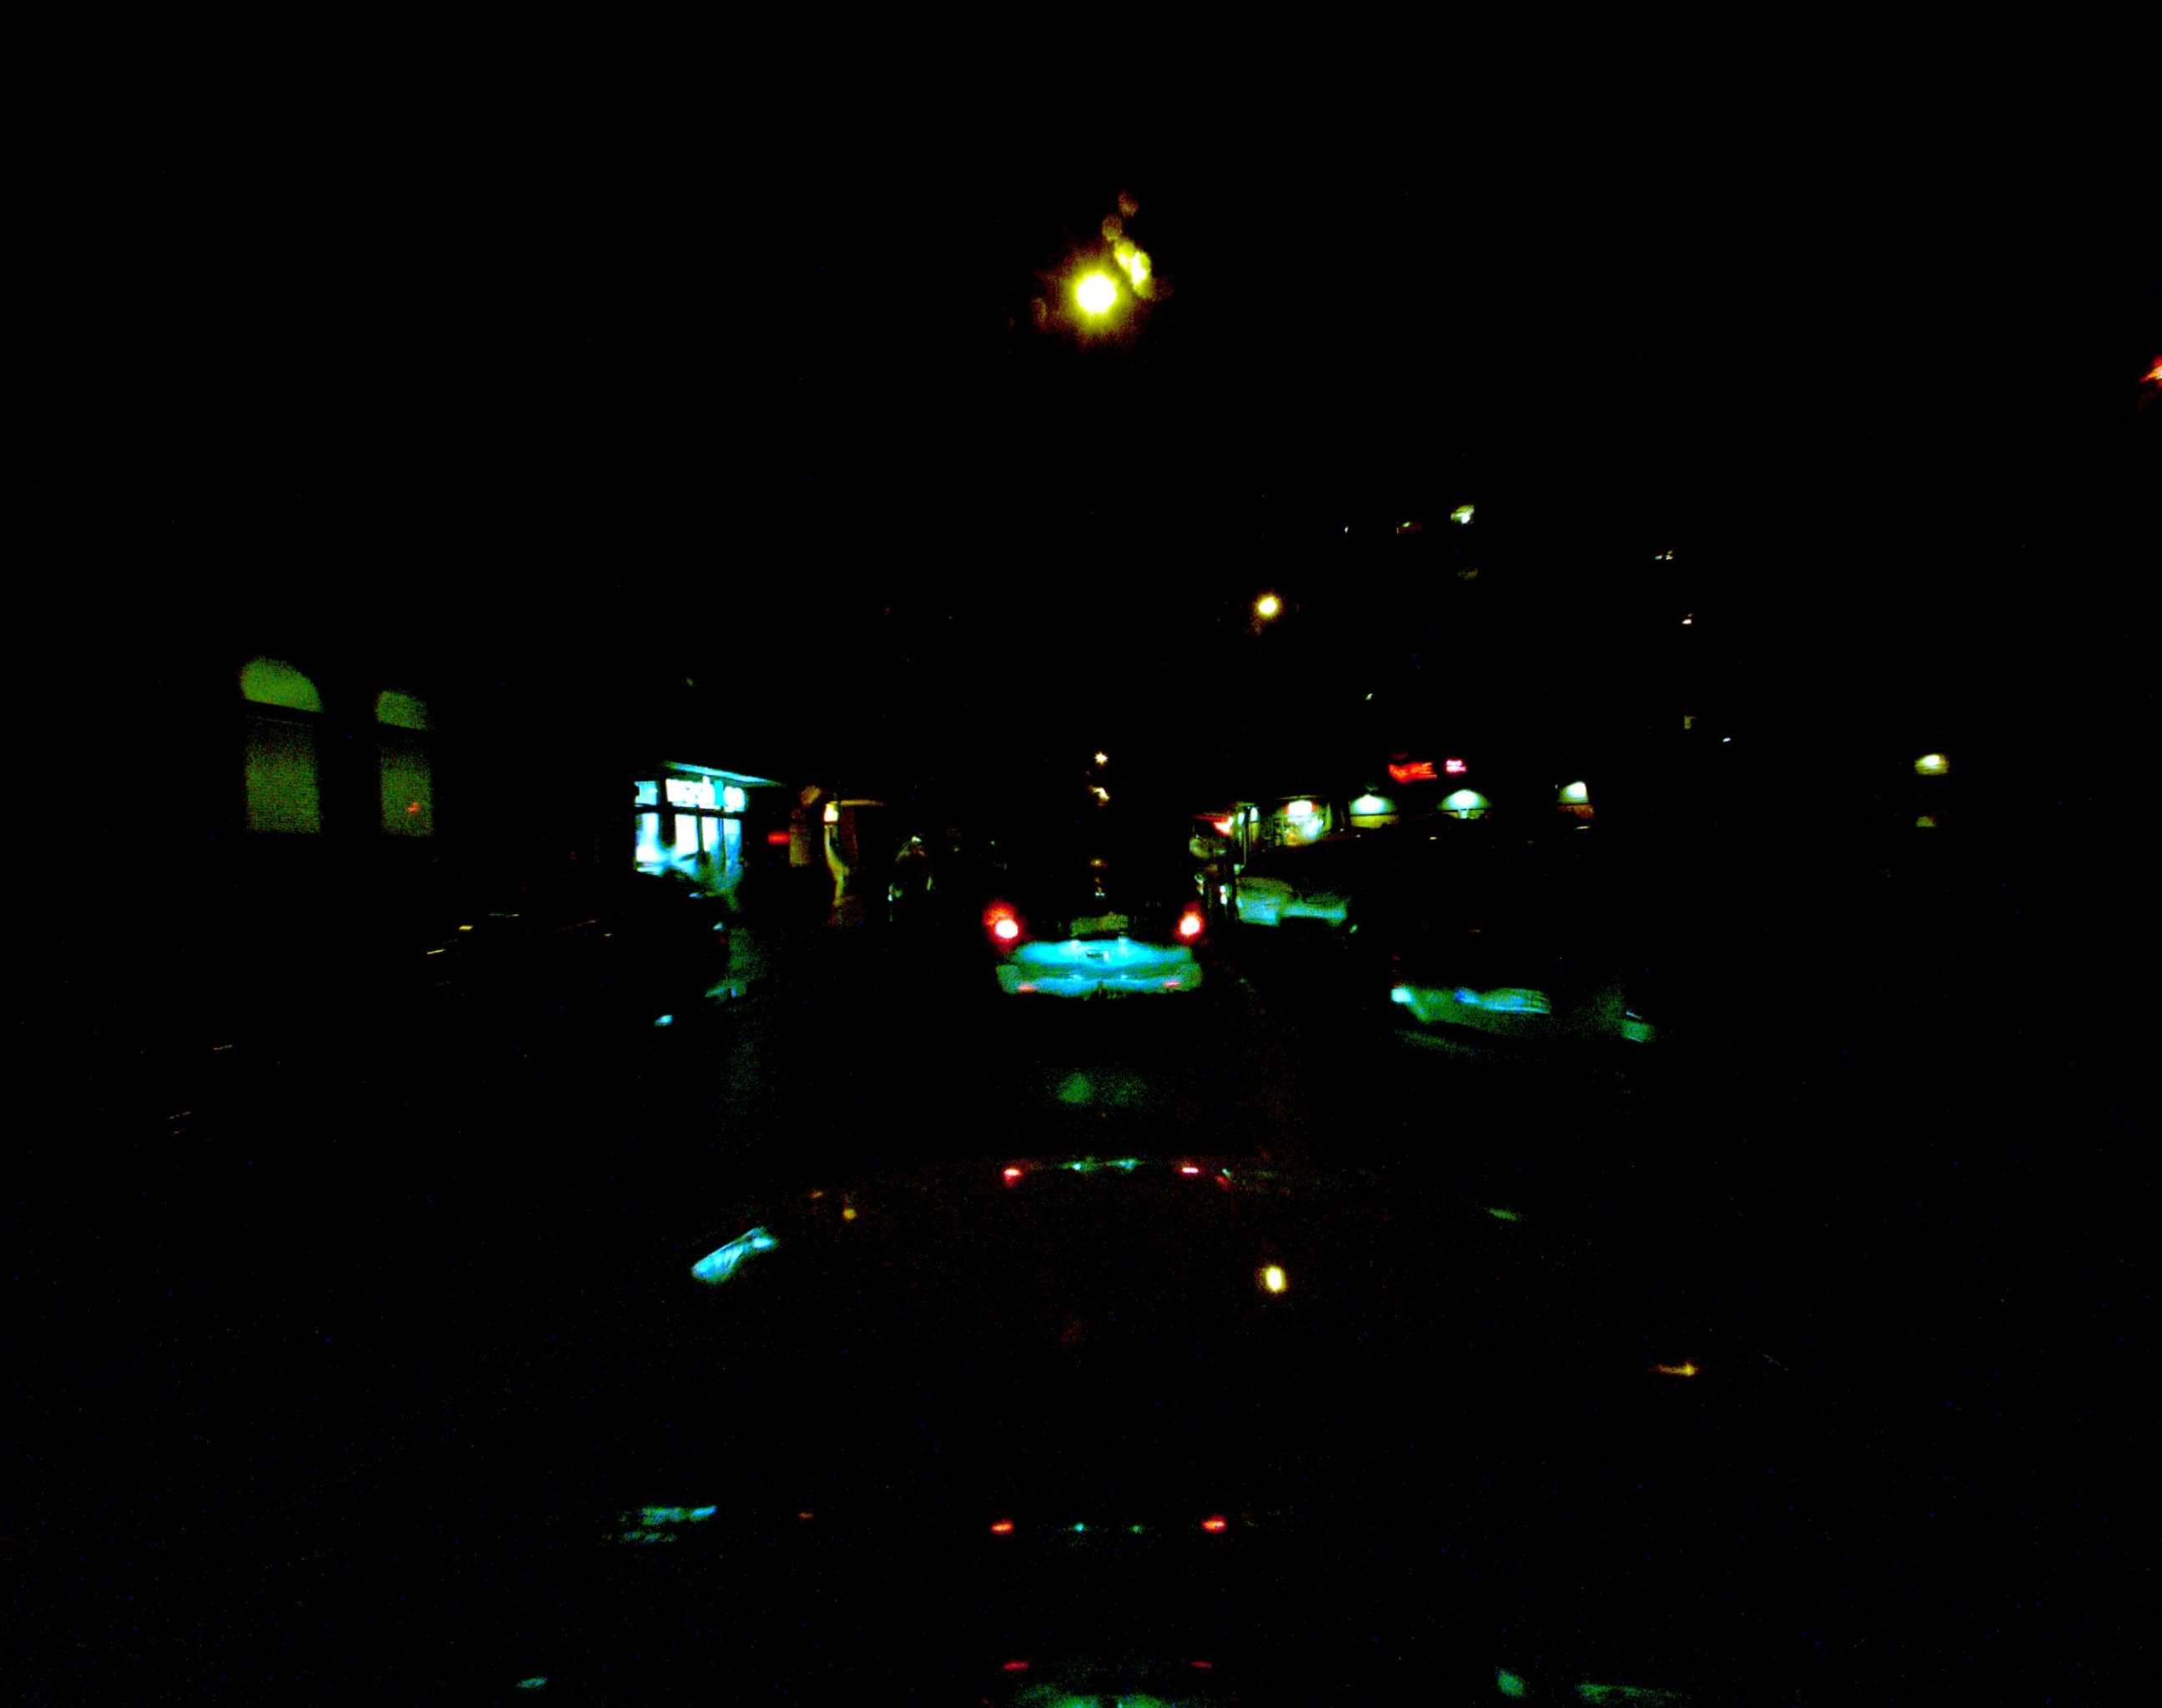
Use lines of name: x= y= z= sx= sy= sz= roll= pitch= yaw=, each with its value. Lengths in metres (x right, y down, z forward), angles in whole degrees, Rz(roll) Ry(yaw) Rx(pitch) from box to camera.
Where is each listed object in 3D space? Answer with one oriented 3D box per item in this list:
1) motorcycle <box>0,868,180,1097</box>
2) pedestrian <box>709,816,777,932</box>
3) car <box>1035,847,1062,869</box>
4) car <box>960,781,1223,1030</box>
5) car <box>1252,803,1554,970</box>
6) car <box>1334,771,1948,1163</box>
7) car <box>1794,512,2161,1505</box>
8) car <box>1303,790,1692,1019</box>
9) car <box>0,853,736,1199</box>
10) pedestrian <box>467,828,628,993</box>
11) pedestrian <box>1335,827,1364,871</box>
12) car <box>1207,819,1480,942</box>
motorcycle: x=-7.331 y=0.857 z=5.628 sx=0.535 sy=1.471 sz=1.458 roll=-1 pitch=0 yaw=1
pedestrian: x=-6.804 y=0.383 z=16.468 sx=0.796 sy=2.241 sz=1.116 roll=-3 pitch=0 yaw=0
car: x=-2.234 y=0.254 z=57.020 sx=1.580 sy=1.463 sz=4.026 roll=1 pitch=1 yaw=2
car: x=0.167 y=0.415 z=9.036 sx=2.114 sy=1.991 sz=4.603 roll=-2 pitch=0 yaw=2
car: x=4.271 y=0.321 z=10.657 sx=3.755 sy=1.712 sz=1.753 roll=-5 pitch=0 yaw=-33
car: x=3.777 y=0.389 z=5.296 sx=4.089 sy=1.597 sz=1.815 roll=-5 pitch=0 yaw=-33
car: x=3.921 y=0.200 z=2.424 sx=3.755 sy=2.028 sz=1.703 roll=-5 pitch=0 yaw=-34
car: x=4.253 y=0.341 z=8.167 sx=3.809 sy=1.712 sz=1.730 roll=-5 pitch=0 yaw=-33
car: x=-4.677 y=0.770 z=6.109 sx=1.840 sy=1.478 sz=5.033 roll=-2 pitch=0 yaw=2
pedestrian: x=-6.517 y=0.644 z=10.059 sx=0.952 sy=1.863 sz=1.415 roll=-3 pitch=0 yaw=0
pedestrian: x=11.619 y=-0.231 z=35.256 sx=0.867 sy=1.833 sz=0.990 roll=-3 pitch=0 yaw=38
car: x=4.414 y=0.367 z=13.601 sx=4.273 sy=1.573 sz=1.756 roll=-4 pitch=0 yaw=-27
